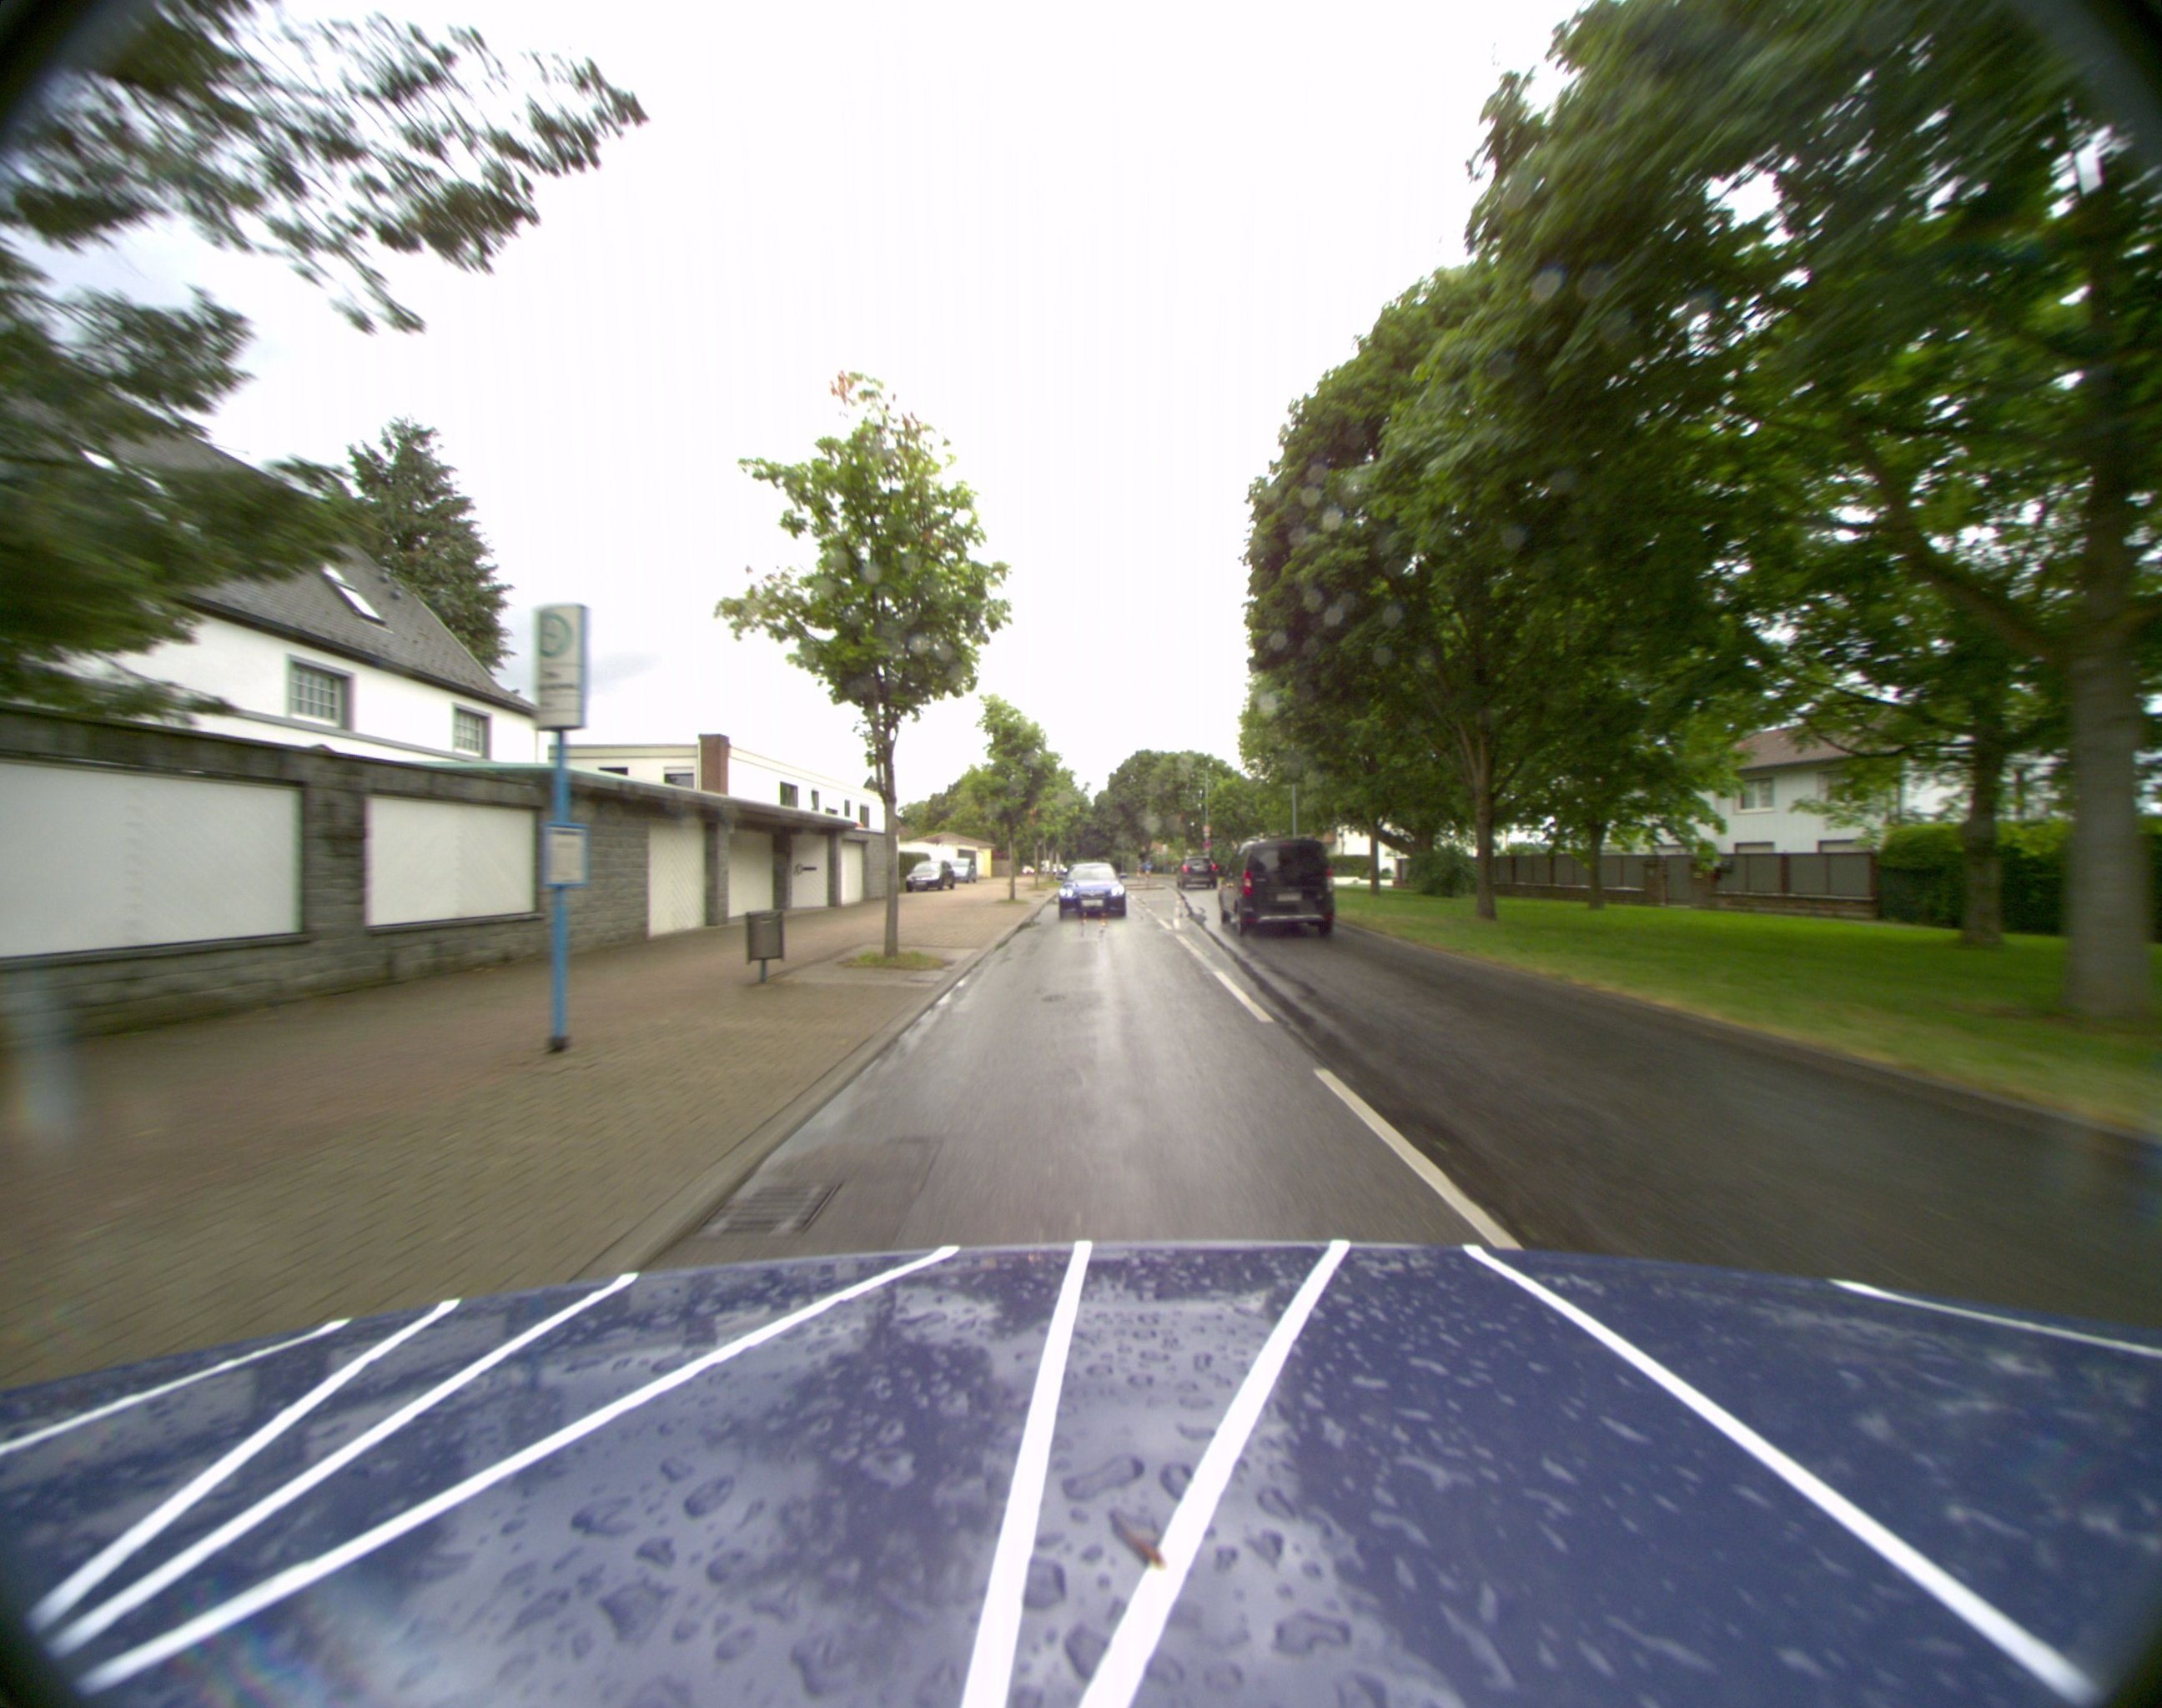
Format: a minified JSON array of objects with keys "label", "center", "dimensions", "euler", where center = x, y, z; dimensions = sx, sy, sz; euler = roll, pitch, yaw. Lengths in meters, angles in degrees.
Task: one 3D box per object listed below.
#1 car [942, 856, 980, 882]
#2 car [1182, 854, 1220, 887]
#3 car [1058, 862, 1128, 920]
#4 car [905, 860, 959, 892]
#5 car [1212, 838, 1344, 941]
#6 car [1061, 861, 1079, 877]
[{"label":"car","center":[-7.816,0.970,49.924],"dimensions":[1.699,1.553,4.000],"euler":[-2,1,2]},{"label":"car","center":[6.054,0.791,38.671],"dimensions":[1.713,1.588,4.174],"euler":[-1,0,6]},{"label":"car","center":[0.364,0.992,22.007],"dimensions":[1.815,1.459,3.975],"euler":[-1,0,2]},{"label":"car","center":[-7.219,1.044,37.204],"dimensions":[1.666,1.413,4.000],"euler":[-2,0,2]},{"label":"car","center":[3.771,0.613,15.274],"dimensions":[1.780,1.763,4.287],"euler":[-1,0,4]},{"label":"car","center":[-1.538,1.979,103.248],"dimensions":[1.999,2.002,3.998],"euler":[-2,1,-6]}]
